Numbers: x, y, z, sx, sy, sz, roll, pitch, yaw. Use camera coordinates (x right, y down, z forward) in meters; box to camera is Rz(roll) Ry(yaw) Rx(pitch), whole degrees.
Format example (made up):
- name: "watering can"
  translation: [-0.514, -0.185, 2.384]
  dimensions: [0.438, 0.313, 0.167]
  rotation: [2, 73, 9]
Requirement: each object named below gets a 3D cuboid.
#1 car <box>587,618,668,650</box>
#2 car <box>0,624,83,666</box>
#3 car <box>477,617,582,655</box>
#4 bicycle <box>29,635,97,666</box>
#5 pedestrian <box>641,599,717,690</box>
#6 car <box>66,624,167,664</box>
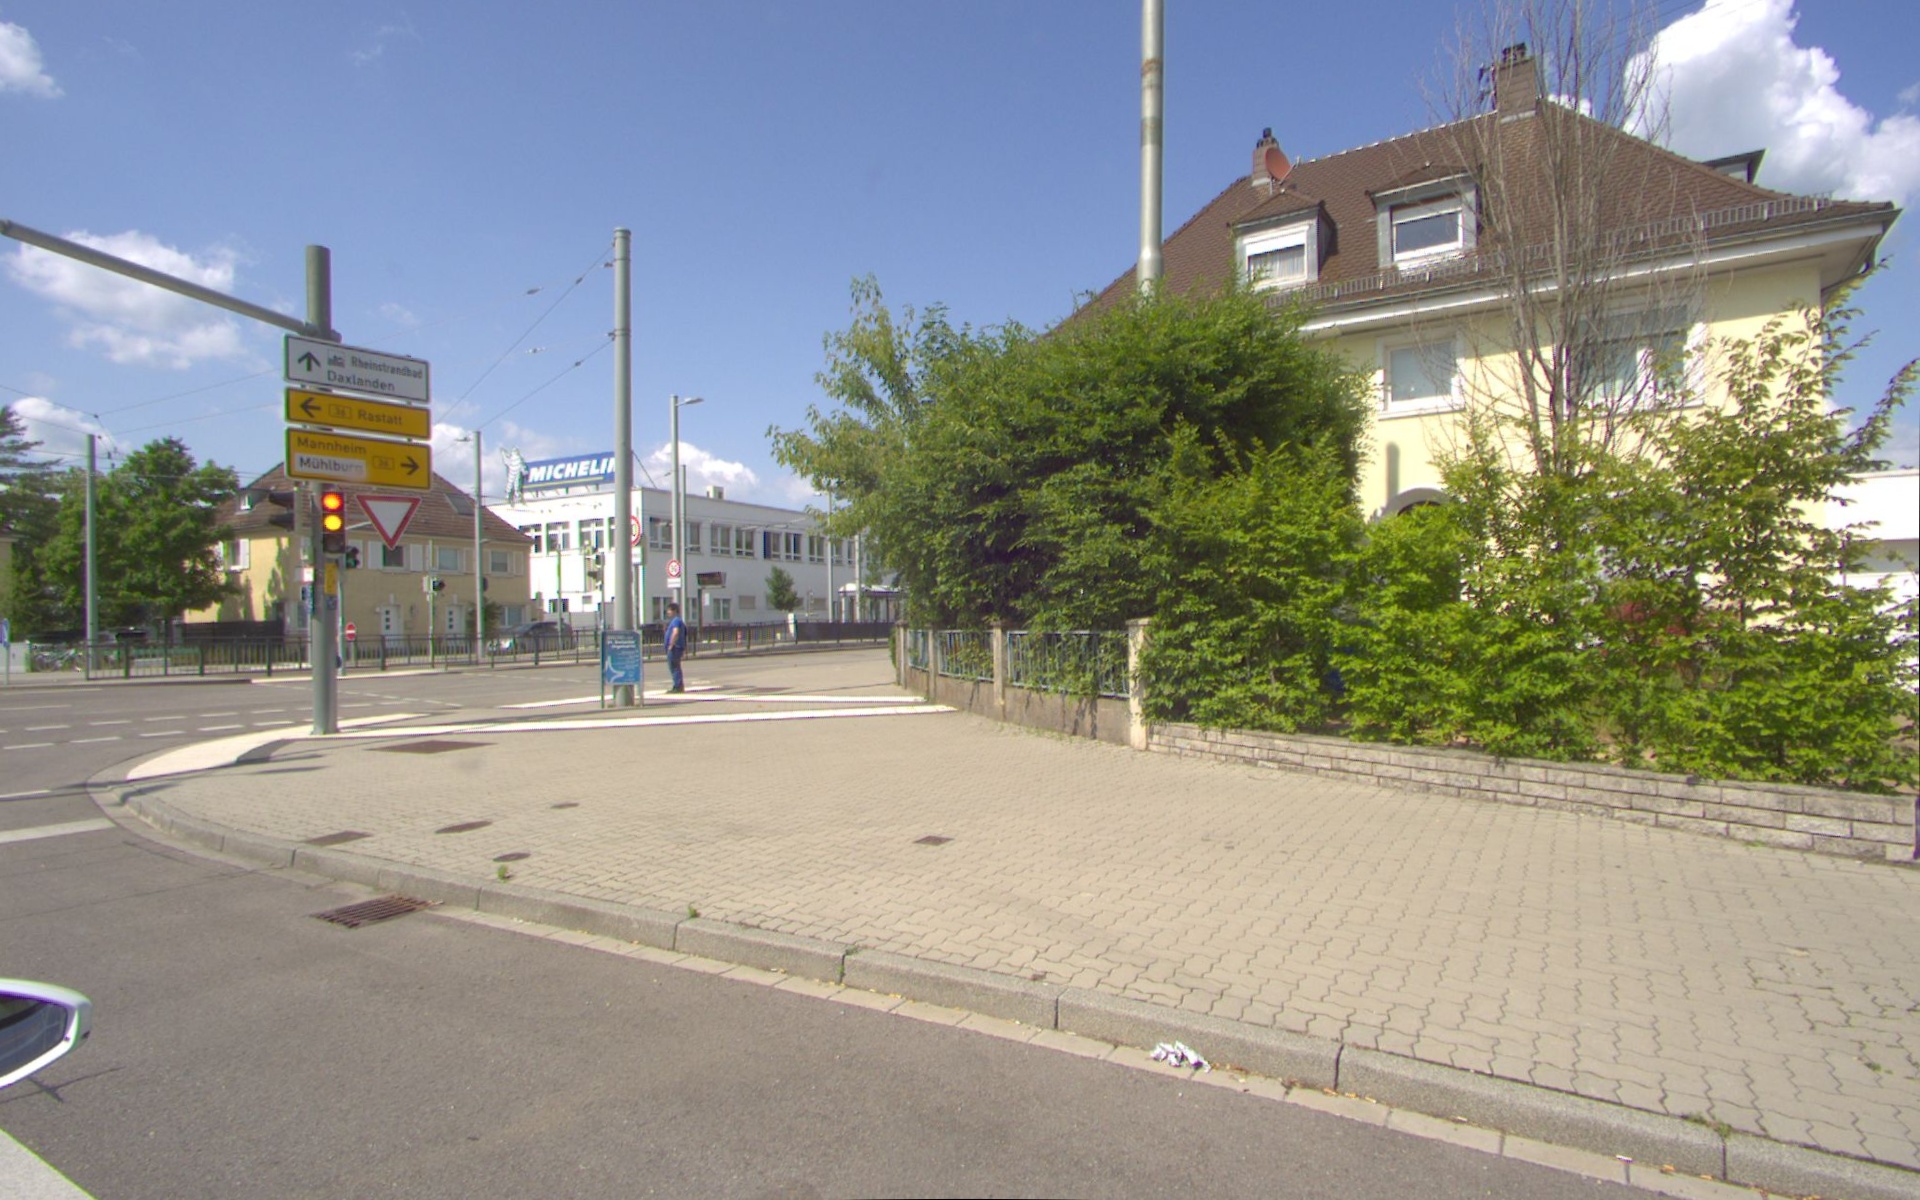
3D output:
- name: "car"
  translation: [-16.496, 1.668, 49.789]
  dimensions: [1.553, 1.465, 3.705]
  rotation: [-1, -1, 30]
- name: "car"
  translation: [-39.398, 1.923, 42.453]
  dimensions: [3.934, 1.641, 1.823]
  rotation: [-3, -1, 23]
- name: "car"
  translation: [-18.993, 1.568, 44.332]
  dimensions: [1.815, 1.589, 3.981]
  rotation: [-1, -1, 30]
- name: "bicycle"
  translation: [-34.173, 1.920, 38.156]
  dimensions: [1.777, 1.119, 0.701]
  rotation: [0, -1, -19]
- name: "pedestrian"
  translation: [-5.601, 0.870, 19.973]
  dimensions: [1.025, 1.757, 1.028]
  rotation: [-1, 0, 29]
- name: "car"
  translation: [-37.604, 1.952, 44.640]
  dimensions: [3.934, 1.641, 1.823]
  rotation: [-3, -1, 23]
